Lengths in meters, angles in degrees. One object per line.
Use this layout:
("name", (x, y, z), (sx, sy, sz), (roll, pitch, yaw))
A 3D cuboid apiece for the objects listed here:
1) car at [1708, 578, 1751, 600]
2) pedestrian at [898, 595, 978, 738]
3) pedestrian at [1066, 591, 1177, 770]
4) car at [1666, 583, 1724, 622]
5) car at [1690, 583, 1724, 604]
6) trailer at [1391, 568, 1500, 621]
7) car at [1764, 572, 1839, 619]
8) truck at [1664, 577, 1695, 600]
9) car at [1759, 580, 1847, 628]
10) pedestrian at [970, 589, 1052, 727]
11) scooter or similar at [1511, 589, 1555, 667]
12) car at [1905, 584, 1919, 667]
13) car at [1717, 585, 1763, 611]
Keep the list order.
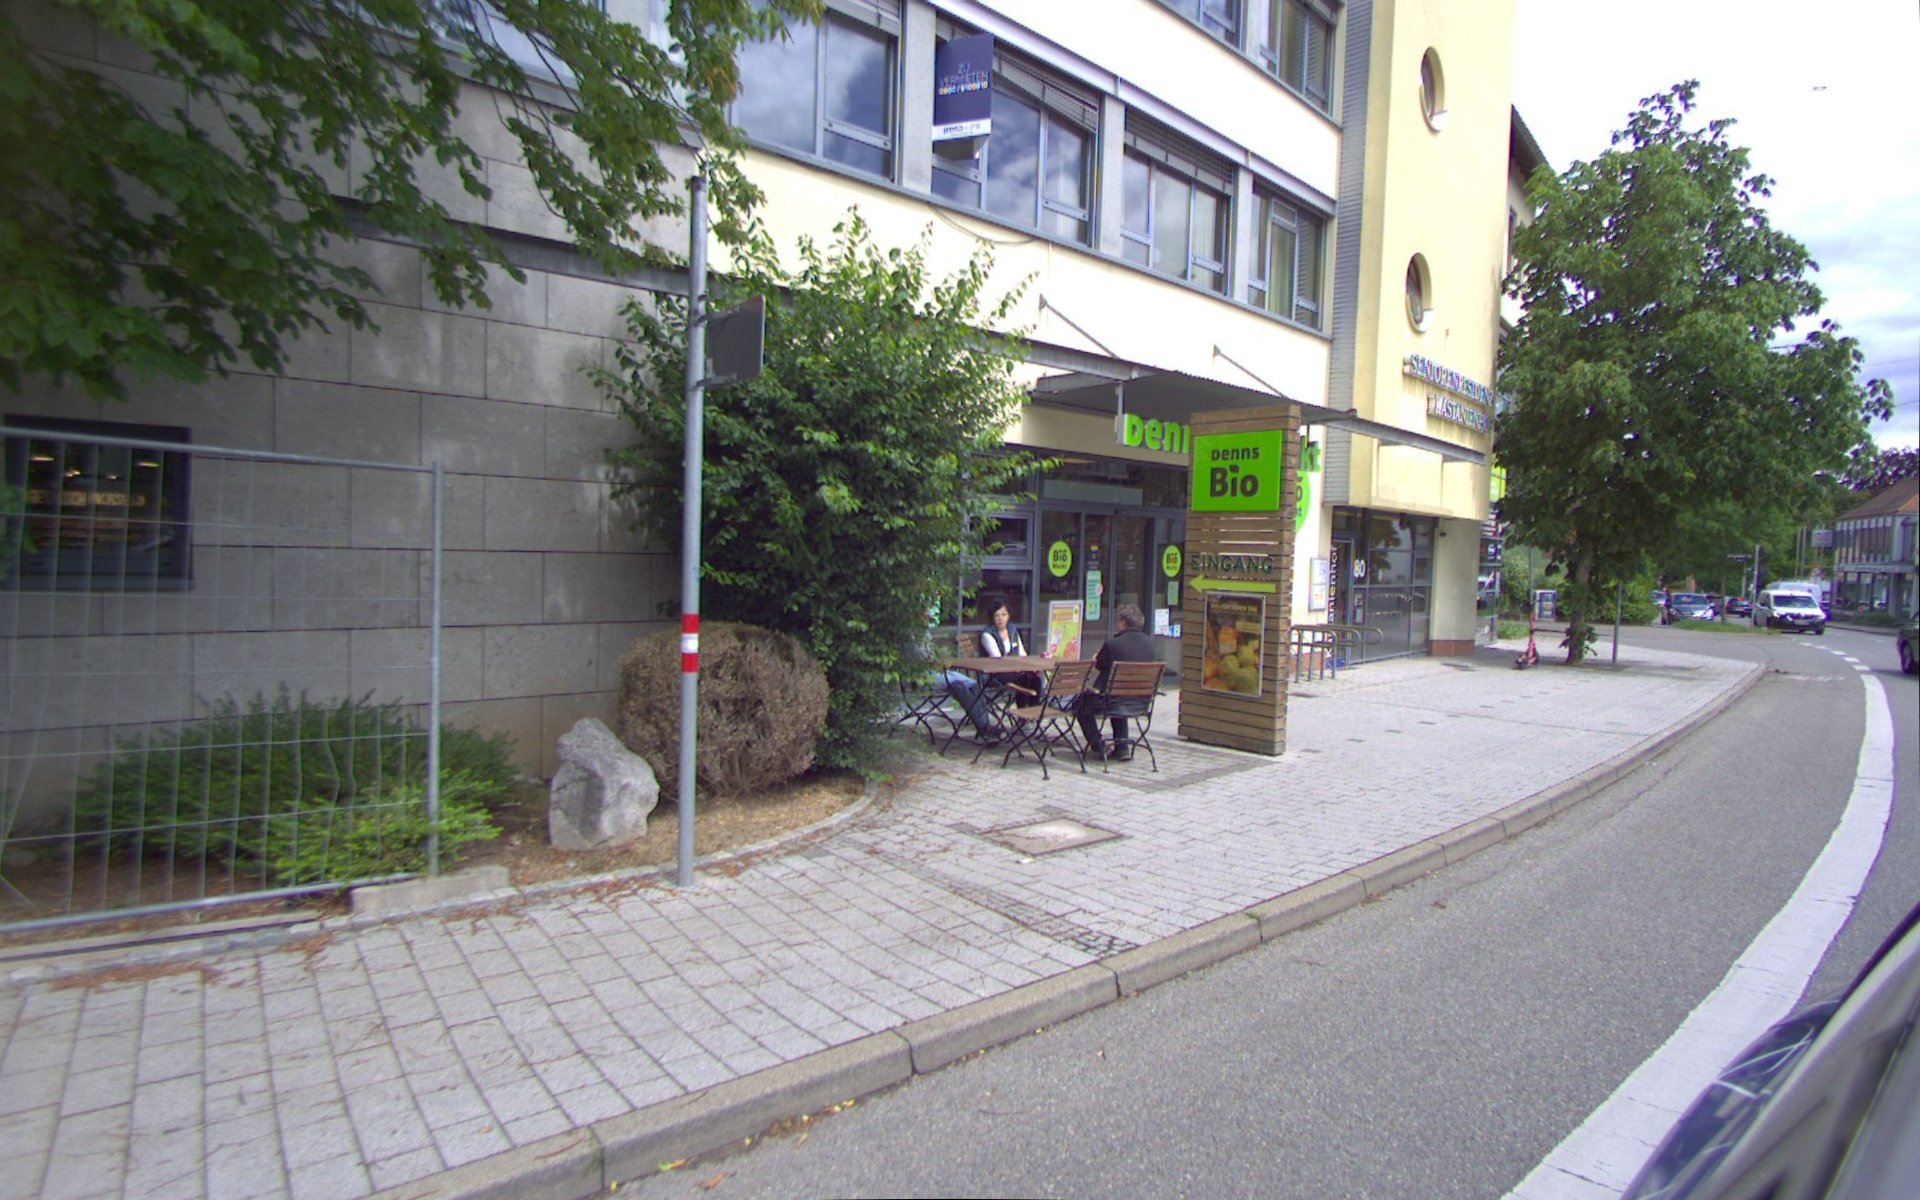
("car", (58.346, -0.856, 76.812), (1.765, 1.541, 4.421), (3, 3, 27))
("pedestrian", (-0.194, 0.567, 8.993), (0.519, 1.196, 0.495), (2, 2, 35))
("pedestrian", (1.293, 0.613, 8.147), (0.567, 1.332, 0.692), (-1, 2, -28))
("car", (35.168, 0.107, 48.527), (1.682, 1.687, 4.414), (3, 2, 30))
("car", (63.228, -0.605, 85.684), (1.680, 1.598, 3.765), (3, 3, 27))
("trailer", (17.218, -0.210, 35.943), (3.159, 1.601, 1.372), (6, 4, 42))
("car", (47.238, -0.283, 56.931), (2.052, 2.381, 5.131), (6, 4, 28))
("truck", (83.341, -1.366, 117.294), (2.293, 2.449, 6.032), (2, 3, 29))
("car", (35.409, 0.116, 42.645), (1.949, 1.829, 4.387), (1, 3, 28))
("pedestrian", (0.474, 0.518, 9.482), (0.495, 1.218, 0.577), (-1, 3, -44))
("scooter or similar", (10.459, 0.485, 18.450), (0.380, 1.332, 1.437), (2, 3, 42))
("car", (19.201, 0.529, 18.422), (1.794, 1.649, 4.639), (-1, 1, 29))
("car", (53.158, -0.162, 69.052), (1.761, 1.442, 4.069), (6, 5, 28))
